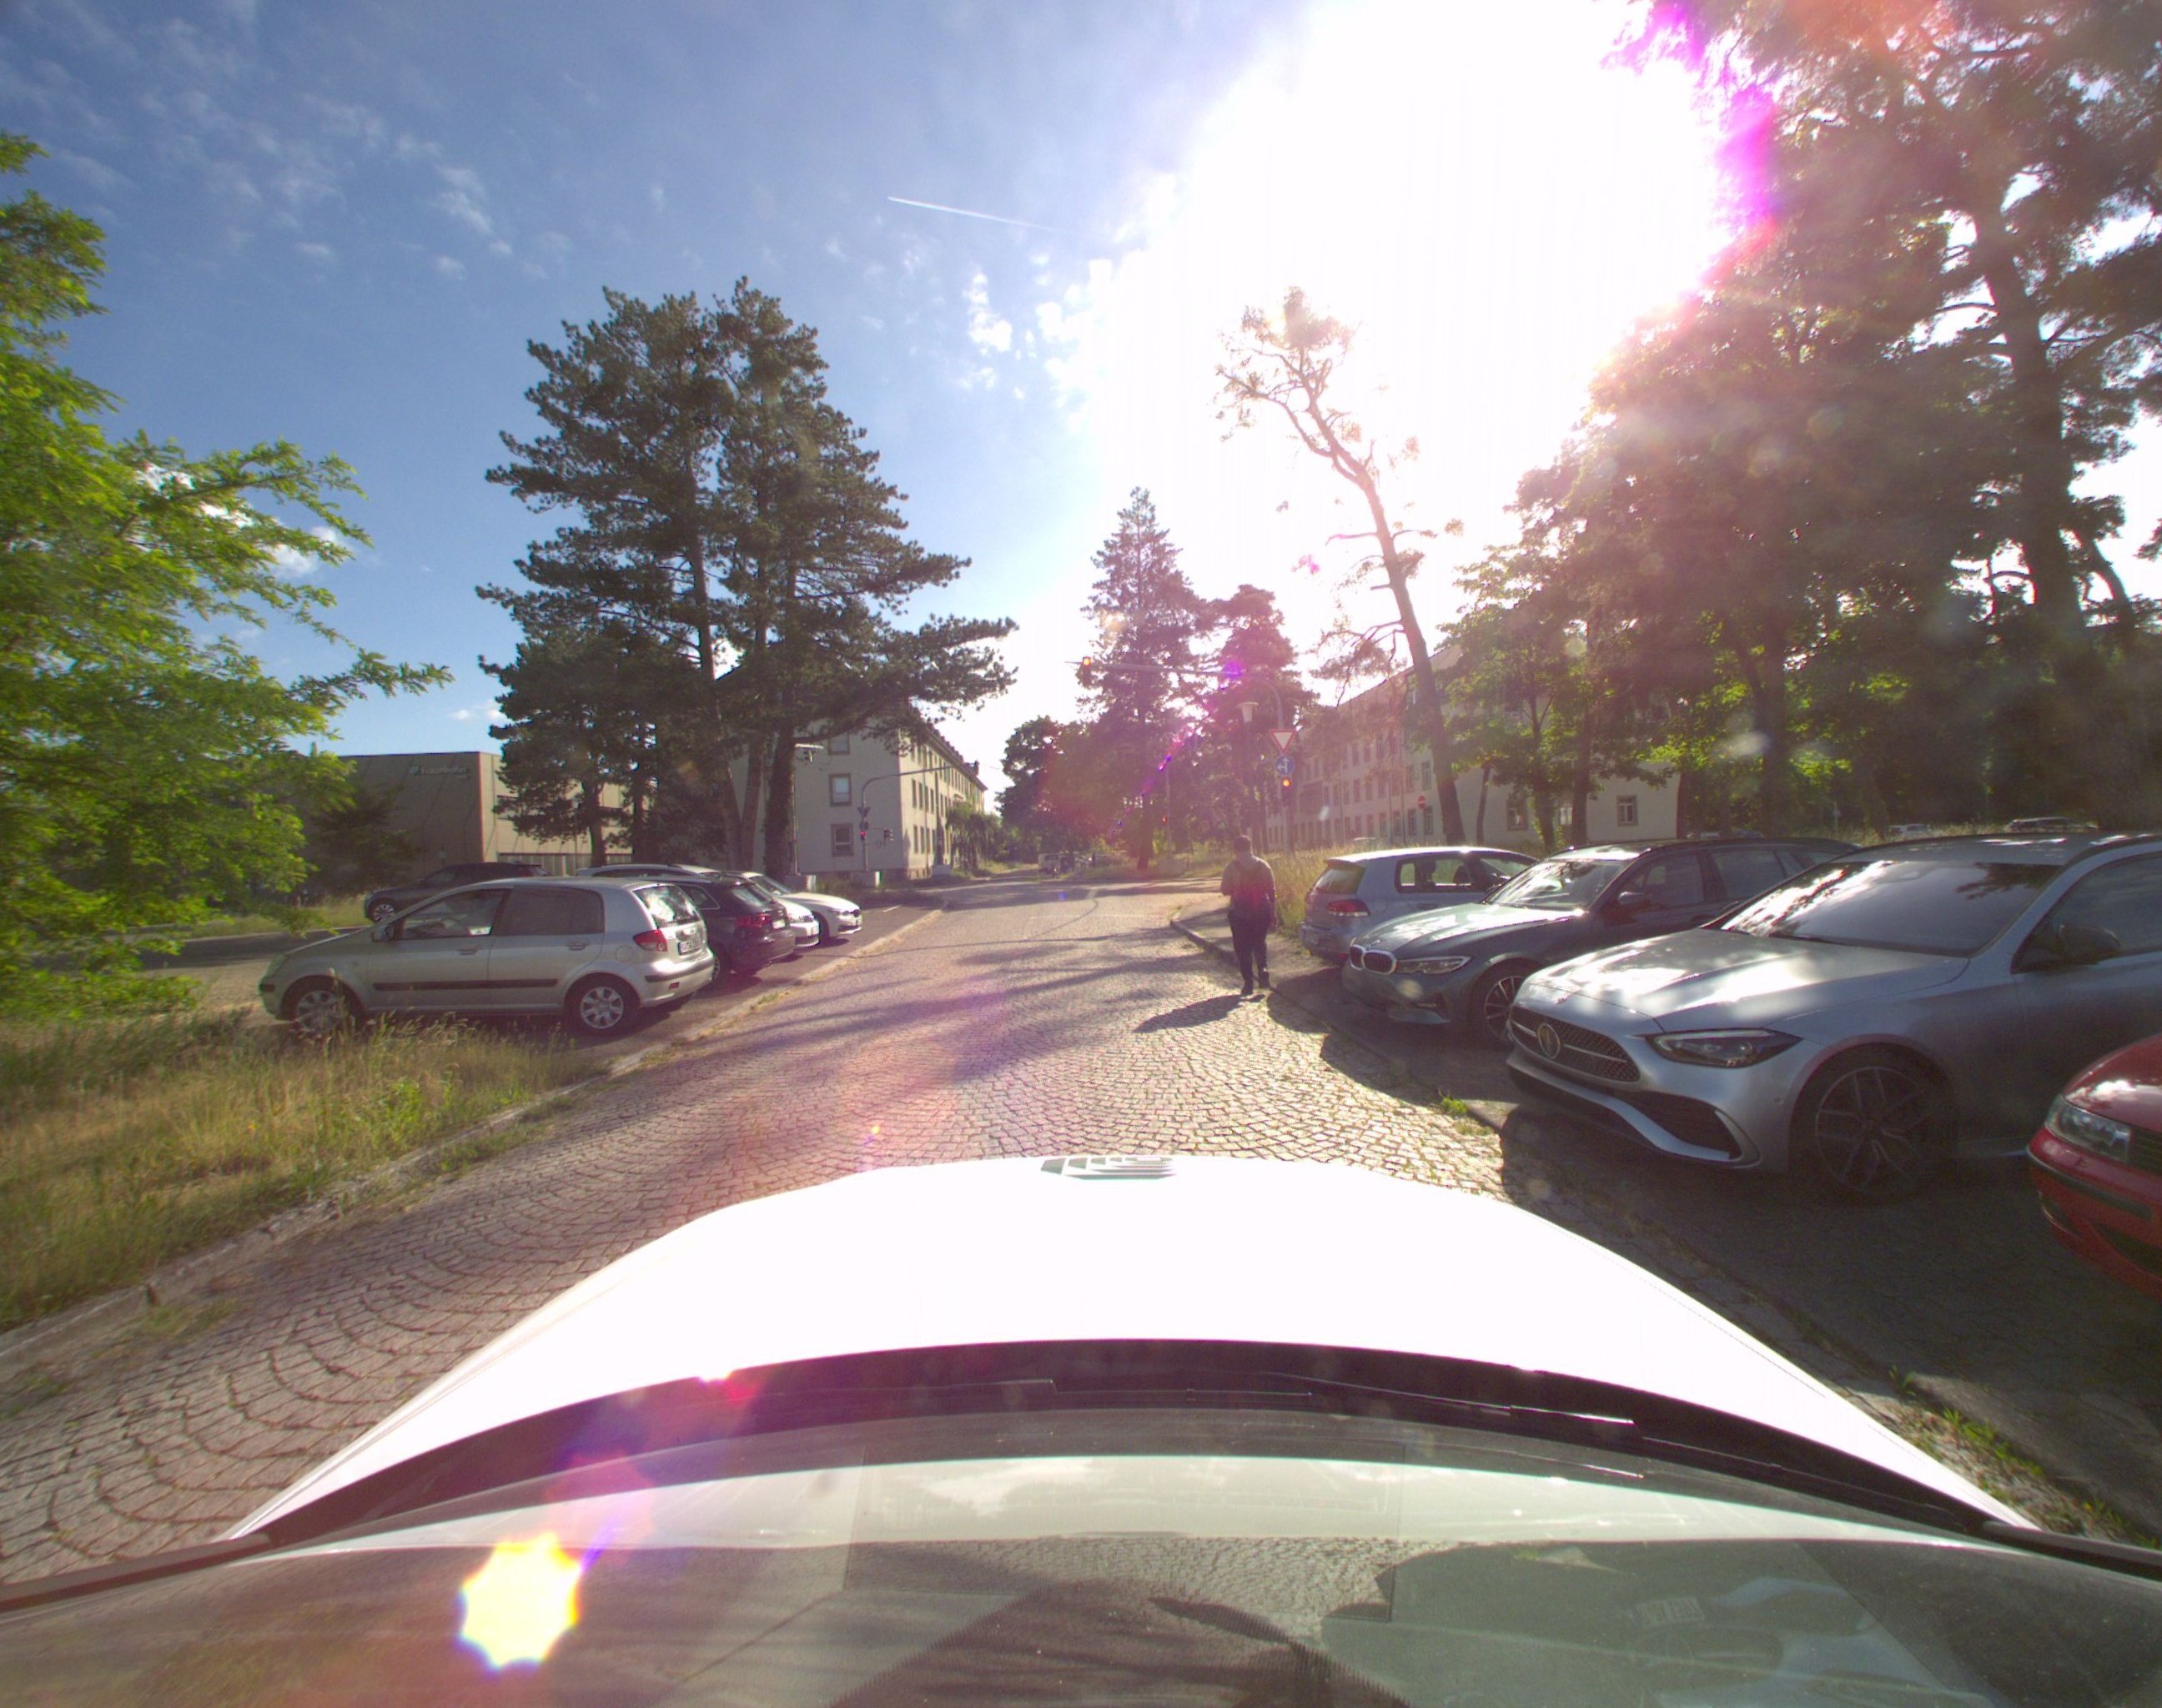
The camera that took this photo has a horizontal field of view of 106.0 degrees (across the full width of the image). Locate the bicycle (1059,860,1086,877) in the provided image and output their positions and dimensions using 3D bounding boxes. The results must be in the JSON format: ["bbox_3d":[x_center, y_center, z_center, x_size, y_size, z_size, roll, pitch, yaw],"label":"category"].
[{"bbox_3d":[-0.601,1.036,58.356,1.832,1.112,0.494,-3,0,-6],"label":"bicycle"}]

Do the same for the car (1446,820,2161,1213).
[{"bbox_3d":[4.558,0.626,4.353,4.390,1.388,1.787,-4,0,-4],"label":"car"}]

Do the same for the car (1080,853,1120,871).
[{"bbox_3d":[1.861,0.752,80.220,3.743,1.580,1.736,-2,0,-10],"label":"car"}]

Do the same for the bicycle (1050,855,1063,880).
[{"bbox_3d":[-1.668,0.891,55.286,0.751,1.580,2.534,-2,0,-2],"label":"bicycle"}]

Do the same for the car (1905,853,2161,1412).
[{"bbox_3d":[4.846,0.660,2.046,3.970,1.448,1.654,-3,0,-3],"label":"car"}]

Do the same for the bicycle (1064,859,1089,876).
[{"bbox_3d":[-0.339,0.992,59.595,1.725,1.164,0.560,-3,0,-6],"label":"bicycle"}]

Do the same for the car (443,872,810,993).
[{"bbox_3d":[-5.914,1.002,10.991,3.929,1.445,1.689,1,0,-4],"label":"car"}]

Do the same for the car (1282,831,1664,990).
[{"bbox_3d":[4.463,0.604,9.629,3.664,1.443,1.664,-4,0,-3],"label":"car"}]

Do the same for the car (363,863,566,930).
[{"bbox_3d":[-17.372,1.165,23.127,4.132,1.608,2.009,-3,0,-2],"label":"car"}]

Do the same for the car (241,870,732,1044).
[{"bbox_3d":[-5.776,0.945,8.336,3.679,1.527,1.696,0,0,-5],"label":"car"}]

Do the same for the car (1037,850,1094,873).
[{"bbox_3d":[-1.458,0.711,76.224,5.070,1.918,1.992,-2,0,-12],"label":"car"}]

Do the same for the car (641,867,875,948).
[{"bbox_3d":[-6.366,1.025,16.345,3.971,1.496,1.774,0,0,2],"label":"car"}]

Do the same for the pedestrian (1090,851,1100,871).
[{"bbox_3d":[1.253,0.650,74.779,0.759,1.783,0.682,-2,0,-10],"label":"pedestrian"}]

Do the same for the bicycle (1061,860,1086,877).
[{"bbox_3d":[-0.551,1.035,58.903,1.725,1.112,0.483,-3,0,-6],"label":"bicycle"}]

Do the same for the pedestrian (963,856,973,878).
[{"bbox_3d":[-9.398,1.073,67.570,0.610,1.752,0.625,-2,0,-25],"label":"pedestrian"}]

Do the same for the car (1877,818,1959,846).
[{"bbox_3d":[55.685,-1.466,54.227,3.624,1.671,1.767,-2,0,0],"label":"car"}]

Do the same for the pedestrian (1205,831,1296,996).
[{"bbox_3d":[1.871,0.632,9.086,0.751,1.725,0.828,2,-1,-3],"label":"pedestrian"}]

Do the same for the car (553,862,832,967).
[{"bbox_3d":[-6.395,0.959,13.741,3.871,1.615,1.658,0,0,-4],"label":"car"}]

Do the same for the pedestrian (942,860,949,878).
[{"bbox_3d":[-11.957,1.336,71.840,0.606,1.560,0.543,-2,0,-9],"label":"pedestrian"}]

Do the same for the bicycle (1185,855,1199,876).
[{"bbox_3d":[6.366,0.647,46.764,0.717,1.115,2.589,-3,0,8],"label":"bicycle"}]

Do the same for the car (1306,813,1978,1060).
[{"bbox_3d":[4.562,0.594,7.063,4.612,1.455,1.867,-5,0,-5],"label":"car"}]
